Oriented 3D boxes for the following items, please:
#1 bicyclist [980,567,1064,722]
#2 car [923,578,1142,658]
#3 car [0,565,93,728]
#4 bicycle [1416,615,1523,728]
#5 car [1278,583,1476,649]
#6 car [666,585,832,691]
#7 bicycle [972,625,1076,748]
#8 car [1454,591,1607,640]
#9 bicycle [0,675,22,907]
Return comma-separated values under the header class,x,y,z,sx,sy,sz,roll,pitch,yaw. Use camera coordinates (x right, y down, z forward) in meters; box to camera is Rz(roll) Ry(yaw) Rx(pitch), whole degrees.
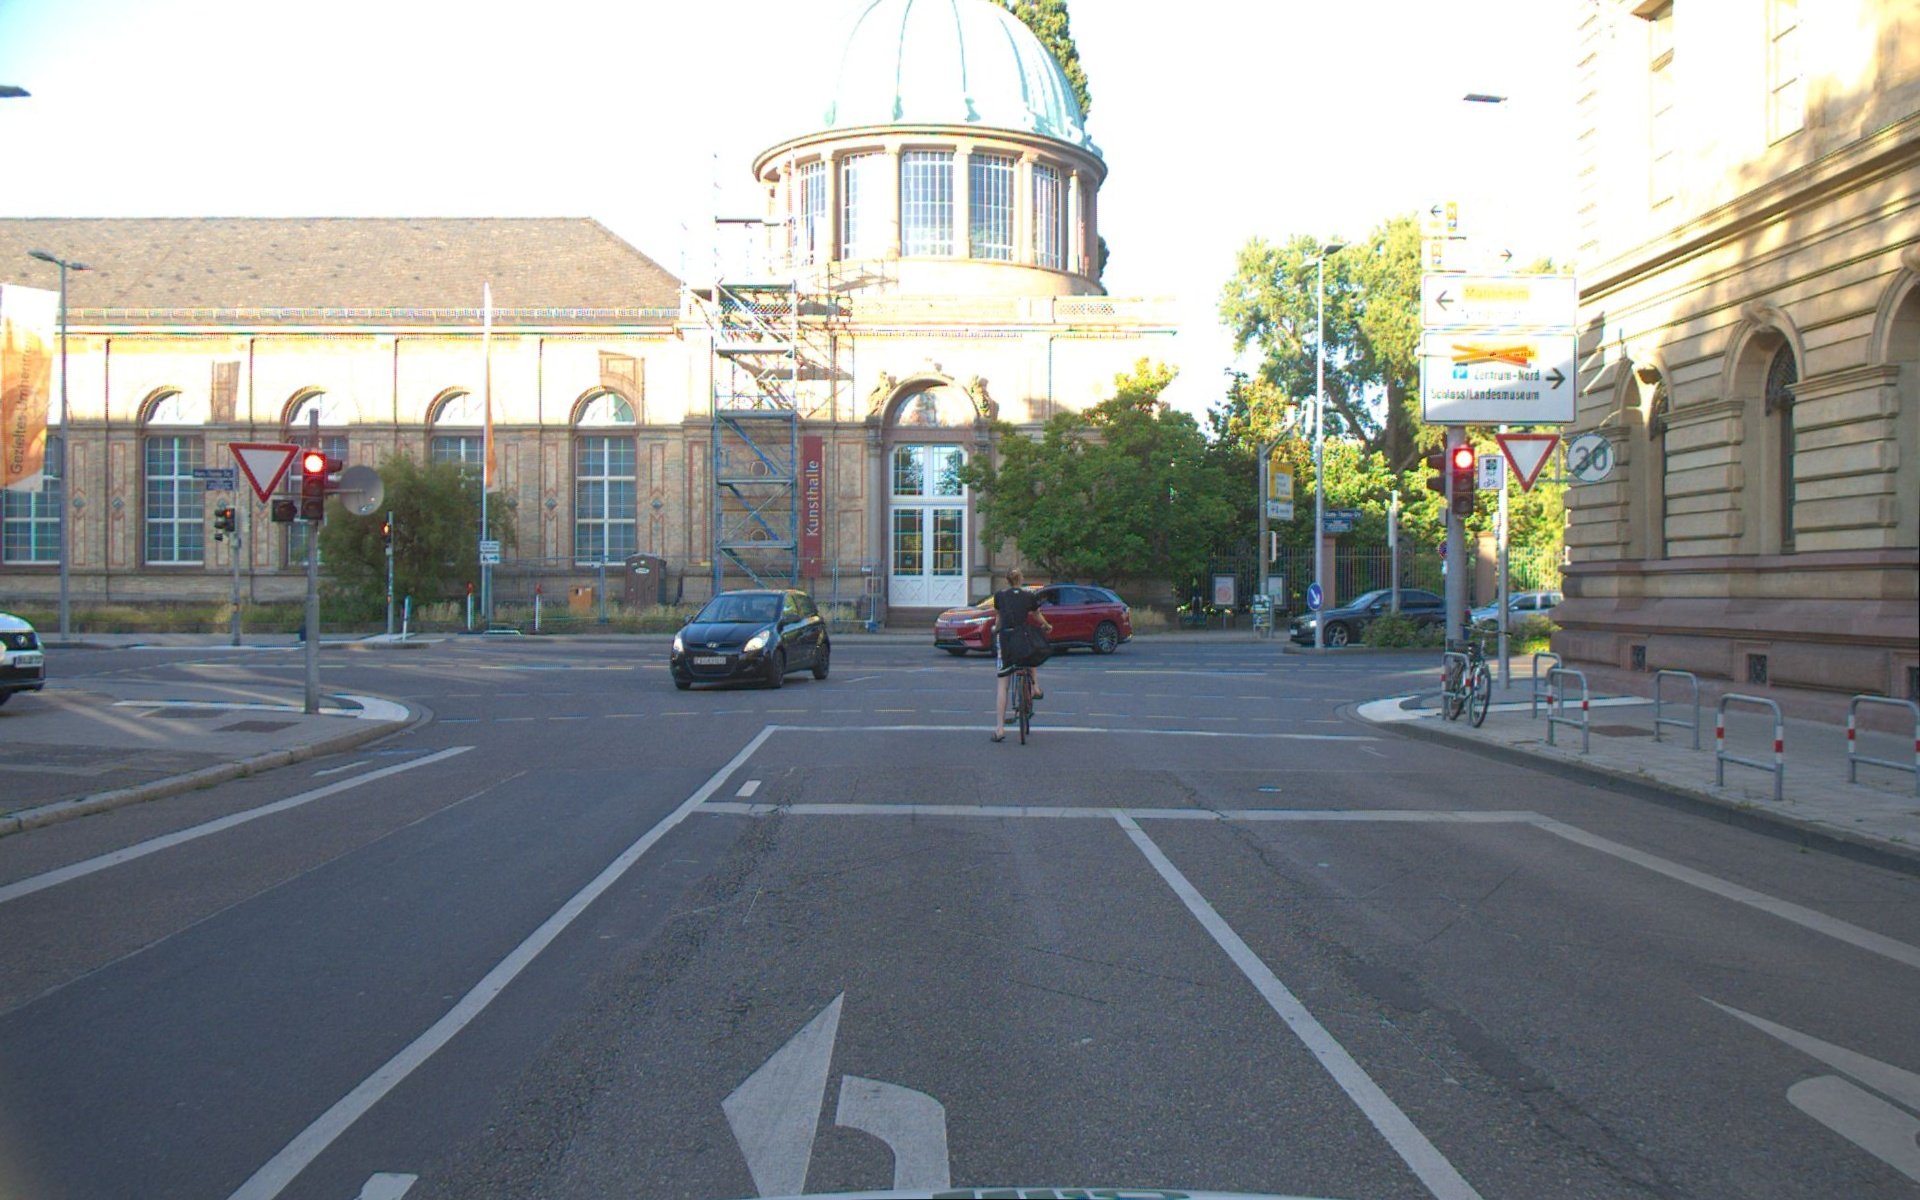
class,x,y,z,sx,sy,sz,roll,pitch,yaw
bicyclist,0.640,0.447,16.769,0.701,1.529,0.851,0,-1,13
car,1.652,0.357,36.574,4.794,1.572,1.813,-2,1,-36
car,-12.074,0.408,17.842,4.352,1.669,1.941,2,0,-3
bicycle,5.692,0.783,18.592,0.570,1.209,1.919,0,-1,-1
car,10.128,0.376,40.258,4.331,1.484,1.783,-1,0,-12
car,-3.287,0.544,26.442,1.622,1.497,3.857,-1,1,9
bicycle,0.684,0.852,16.932,0.696,1.176,2.070,0,-1,13
car,17.361,0.453,50.403,4.104,1.470,1.713,0,0,-6
bicycle,-5.177,0.956,7.576,0.612,1.176,2.052,0,-1,-1
